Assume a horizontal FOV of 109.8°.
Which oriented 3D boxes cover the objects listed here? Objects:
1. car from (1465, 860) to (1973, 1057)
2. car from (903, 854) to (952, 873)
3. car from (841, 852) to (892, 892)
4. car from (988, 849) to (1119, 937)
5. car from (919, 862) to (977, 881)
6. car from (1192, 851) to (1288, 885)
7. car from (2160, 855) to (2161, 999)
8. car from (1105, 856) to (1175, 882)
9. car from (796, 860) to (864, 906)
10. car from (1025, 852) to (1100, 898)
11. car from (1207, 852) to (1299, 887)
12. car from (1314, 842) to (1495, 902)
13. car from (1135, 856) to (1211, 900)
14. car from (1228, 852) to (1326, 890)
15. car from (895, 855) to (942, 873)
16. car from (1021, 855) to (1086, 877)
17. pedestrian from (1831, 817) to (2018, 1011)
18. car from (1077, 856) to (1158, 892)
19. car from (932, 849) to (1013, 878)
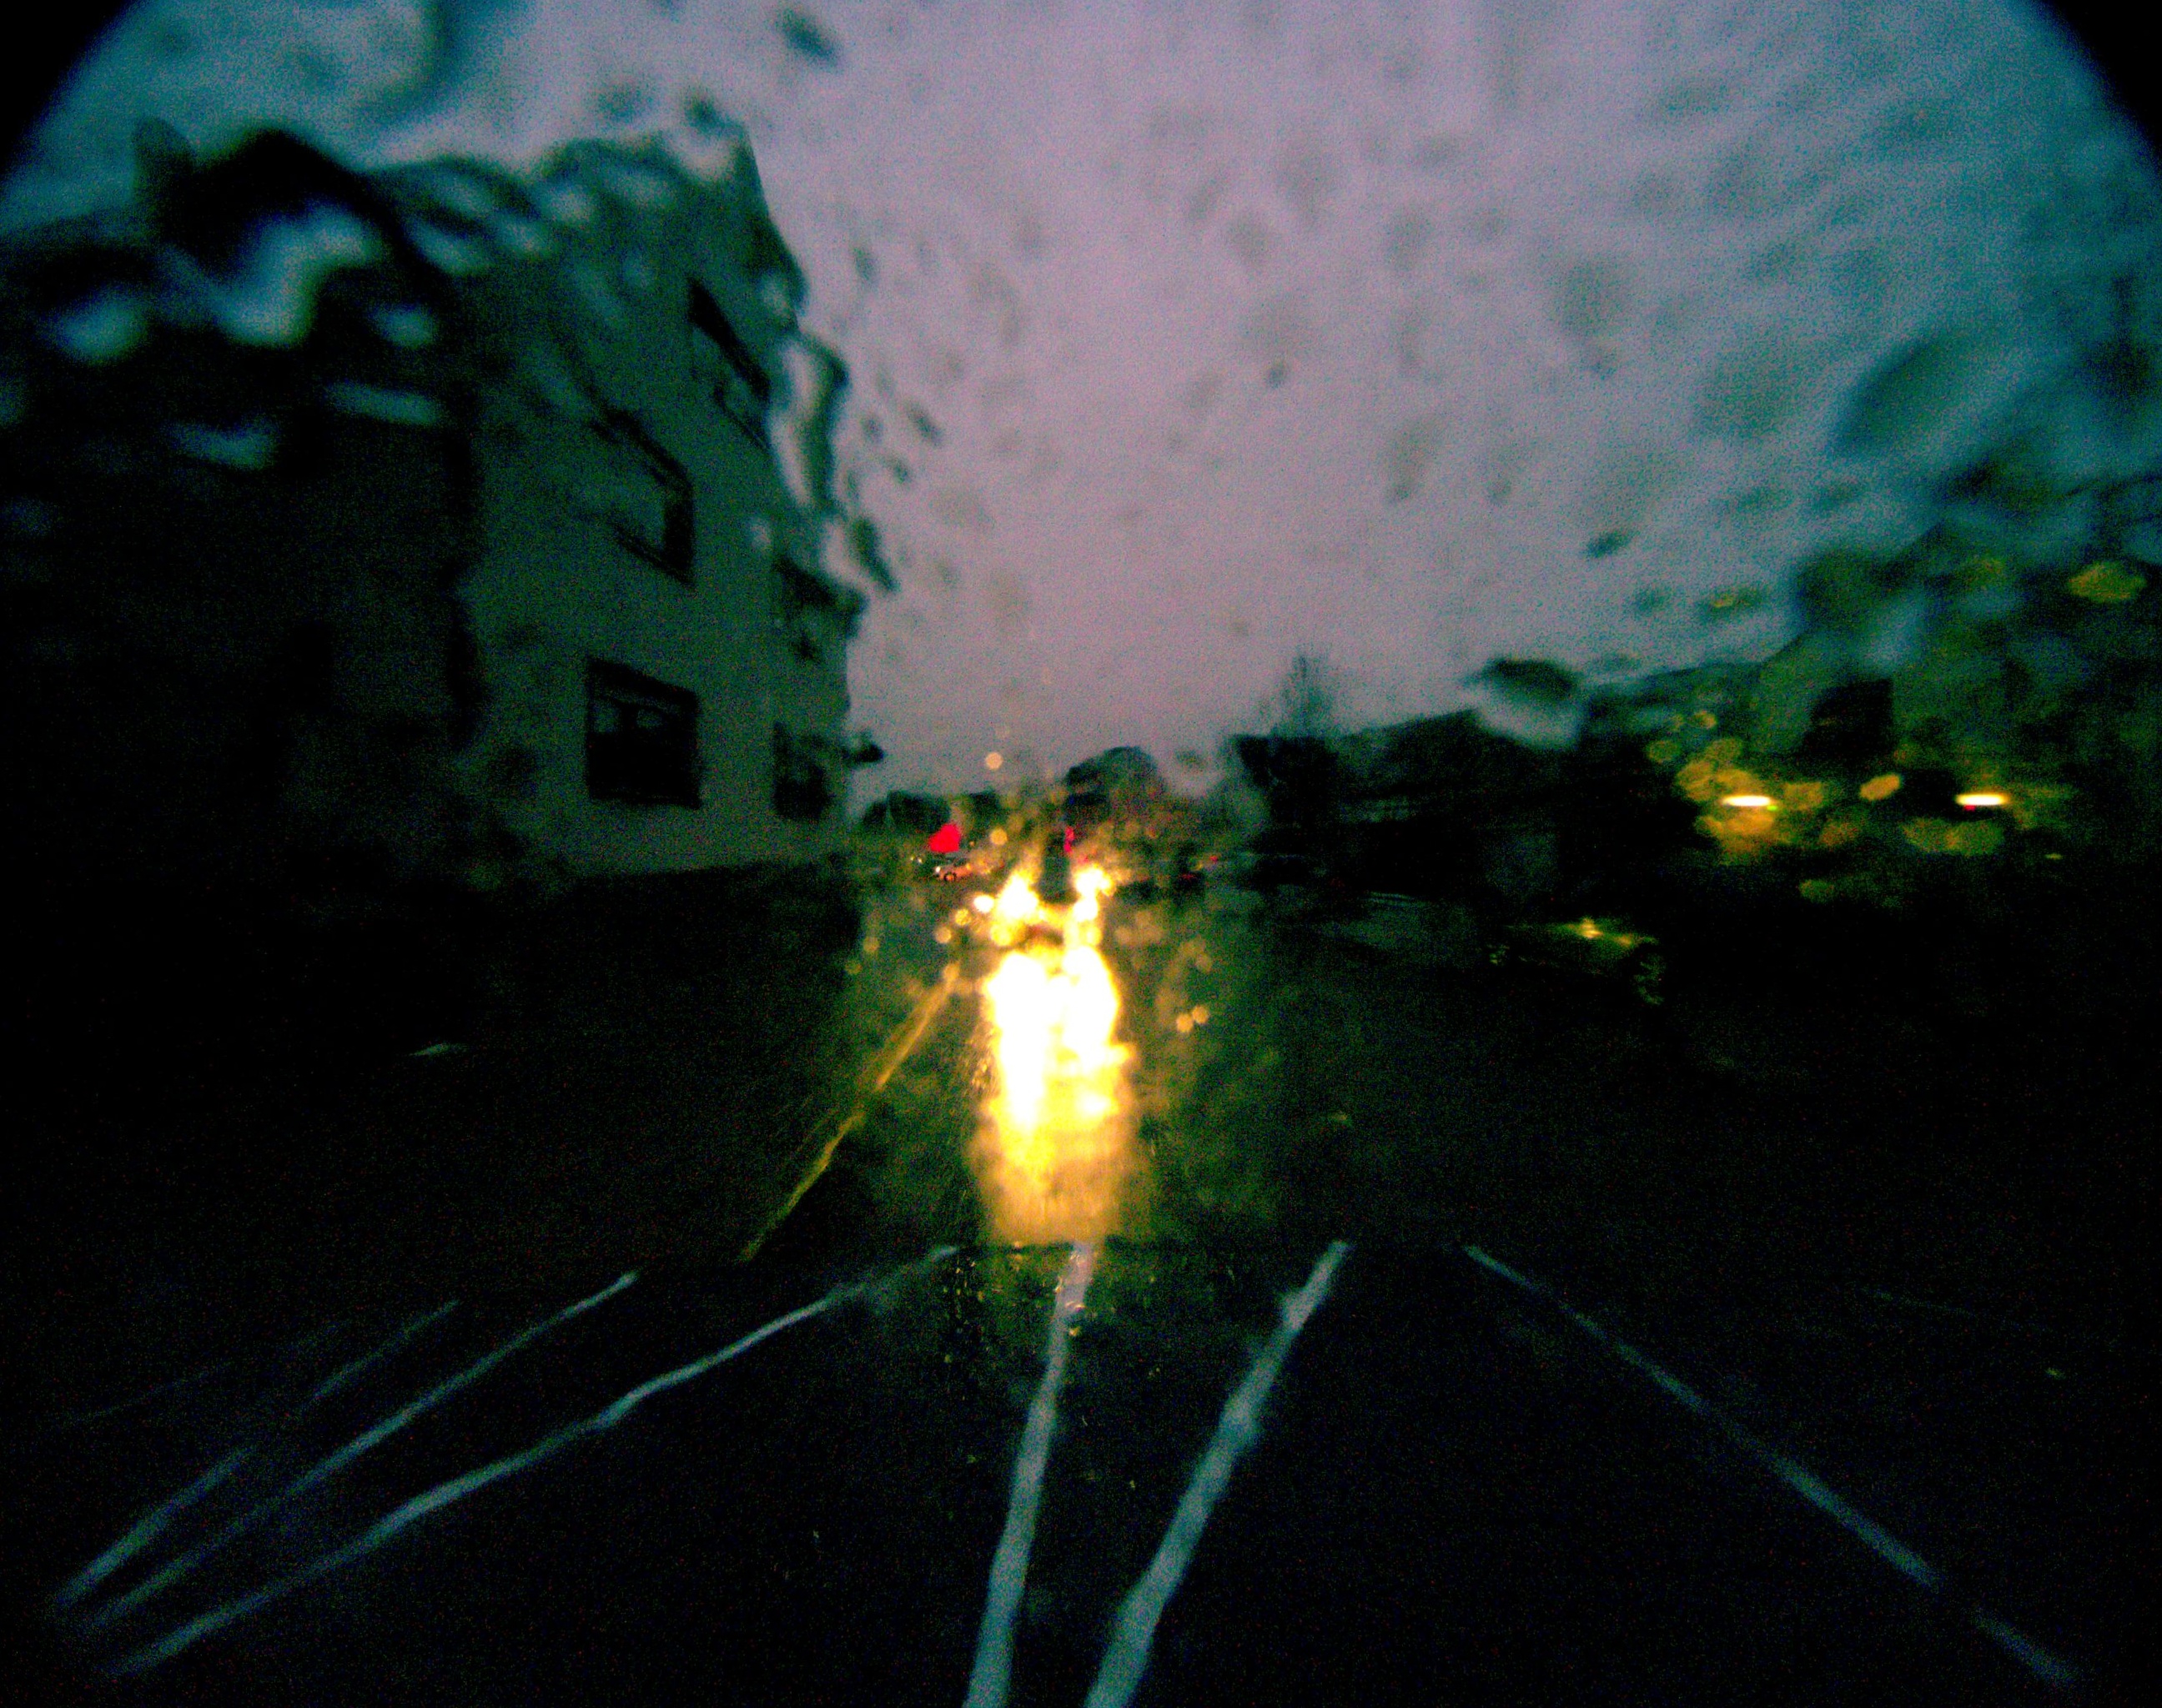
[{"bbox_3d":[6.244,0.851,8.316,1.751,1.464,4.458,-2,0,-1],"label":"car"},{"bbox_3d":[-15.683,0.933,77.505,4.524,1.855,1.864,-1,0,-30],"label":"car"},{"bbox_3d":[-11.365,0.906,40.038,1.982,1.948,4.843,-1,0,-23],"label":"car"},{"bbox_3d":[-0.821,0.746,17.187,2.272,1.633,5.061,-1,0,-10],"label":"car"},{"bbox_3d":[-12.435,1.649,71.075,4.888,1.673,1.996,-1,-1,-28],"label":"car"},{"bbox_3d":[8.007,0.701,38.519,4.649,1.644,1.989,0,1,9],"label":"car"},{"bbox_3d":[12.570,0.752,6.163,4.078,1.468,1.743,0,0,24],"label":"car"},{"bbox_3d":[3.526,0.881,45.423,4.069,1.451,1.758,-1,1,4],"label":"car"},{"bbox_3d":[-9.112,0.992,27.398,1.742,1.552,3.655,0,0,-28],"label":"car"},{"bbox_3d":[-0.916,0.885,33.921,2.149,1.850,4.736,-1,0,-17],"label":"car"},{"bbox_3d":[8.019,0.717,35.639,4.107,1.573,1.722,0,1,9],"label":"car"},{"bbox_3d":[10.653,0.555,25.498,5.386,1.874,2.076,0,0,16],"label":"car"},{"bbox_3d":[3.425,0.859,29.062,1.839,1.527,3.672,-2,0,-10],"label":"car"},{"bbox_3d":[8.488,0.743,33.037,3.993,1.521,2.002,-1,0,14],"label":"car"},{"bbox_3d":[-17.087,1.003,79.869,4.435,1.790,1.840,-1,0,-30],"label":"car"},{"bbox_3d":[-2.165,0.978,60.240,4.775,1.625,1.997,1,-2,-20],"label":"car"},{"bbox_3d":[8.637,0.579,7.837,0.755,1.856,1.061,-1,1,1],"label":"pedestrian"},{"bbox_3d":[1.615,0.913,35.421,1.913,1.524,4.247,-2,0,-26],"label":"car"},{"bbox_3d":[-8.266,0.732,57.908,5.782,1.934,1.988,-2,0,-16],"label":"car"}]
